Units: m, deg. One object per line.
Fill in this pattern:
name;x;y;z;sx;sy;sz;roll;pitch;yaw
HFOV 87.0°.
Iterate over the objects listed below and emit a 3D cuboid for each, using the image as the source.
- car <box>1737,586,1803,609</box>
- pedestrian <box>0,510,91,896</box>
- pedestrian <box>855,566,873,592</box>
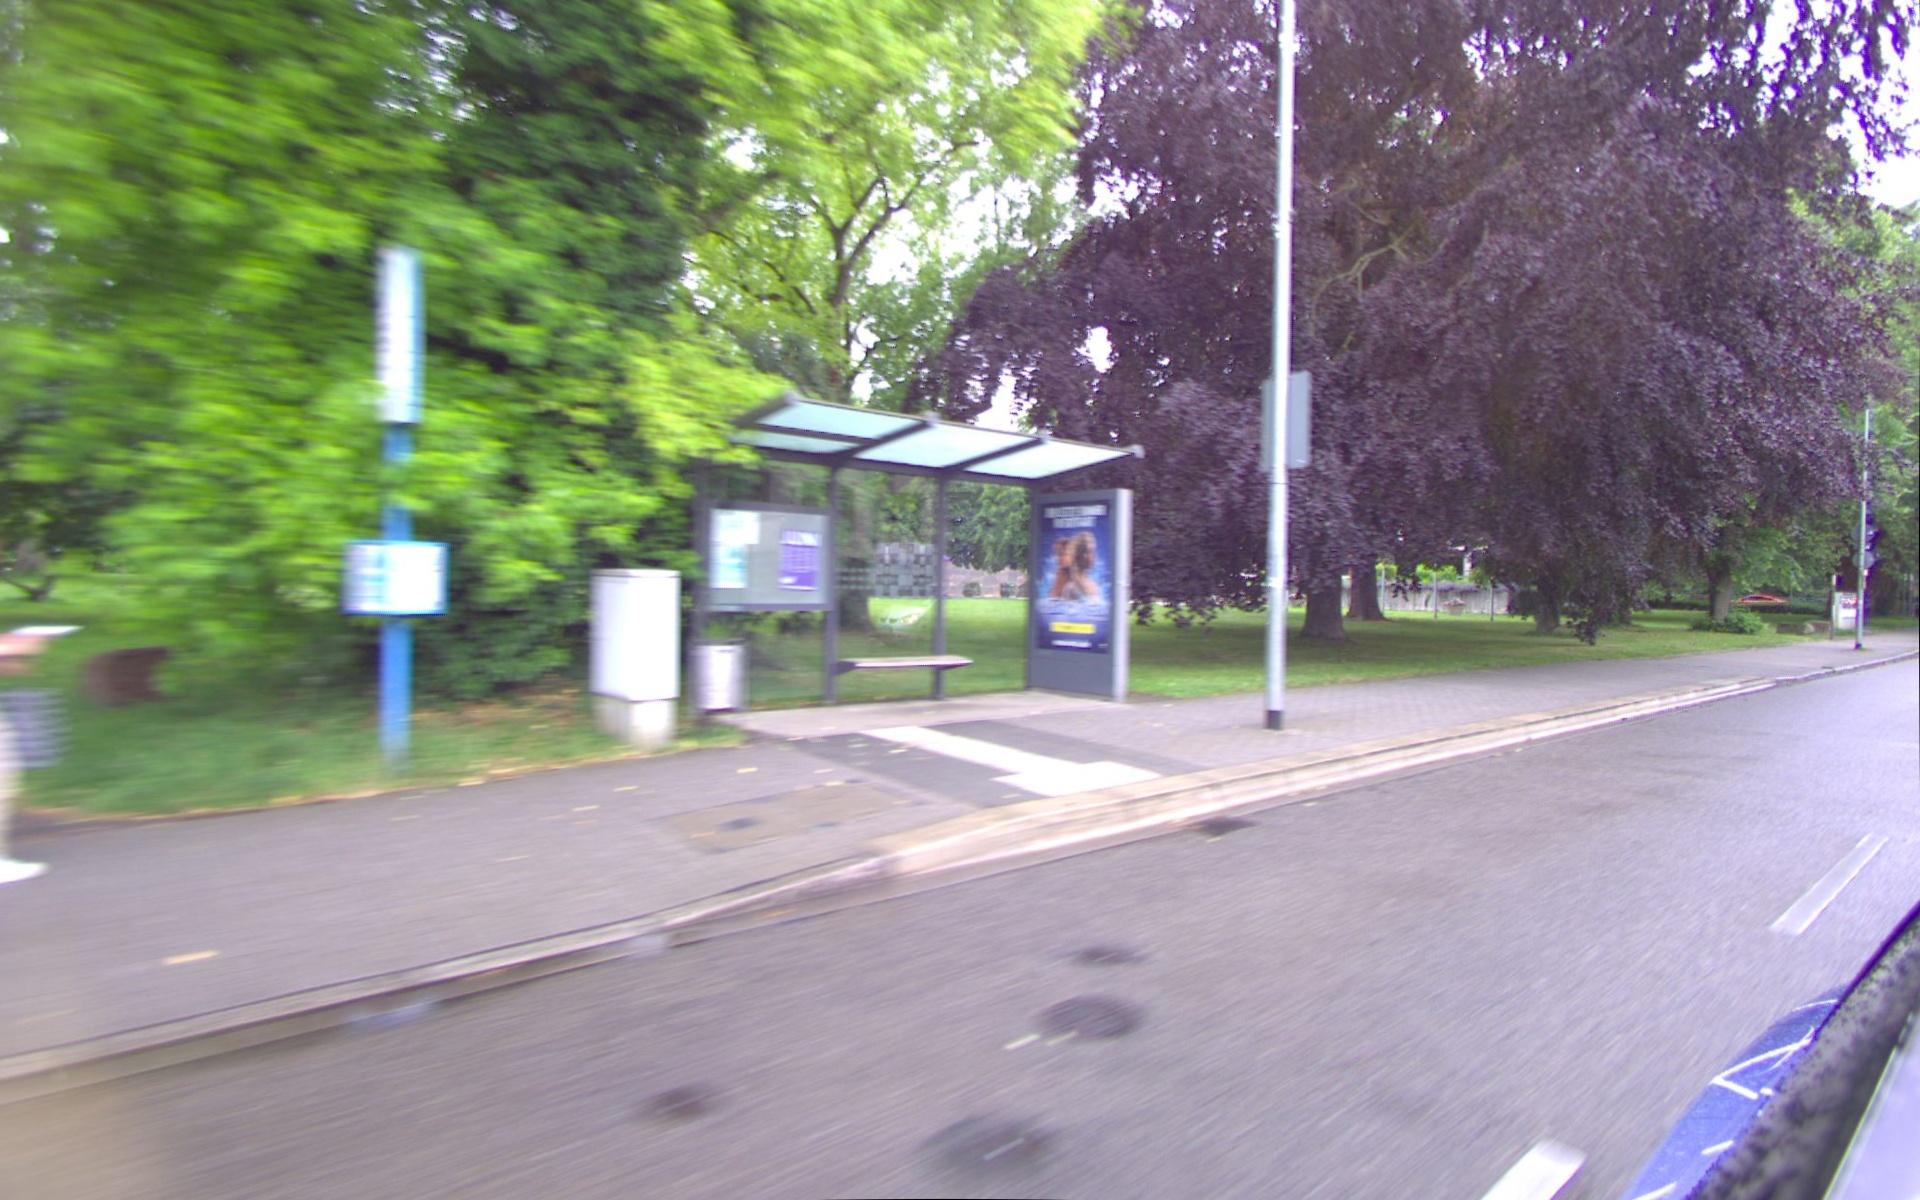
car;66.619;-0.214;83.302;1.966;1.737;3.992;0;2;-43
pedestrian;-4.673;0.432;4.555;1.147;1.696;0.849;0;3;-41
pedestrian;-6.771;-1.492;71.350;0.838;1.785;0.844;-2;-1;44
